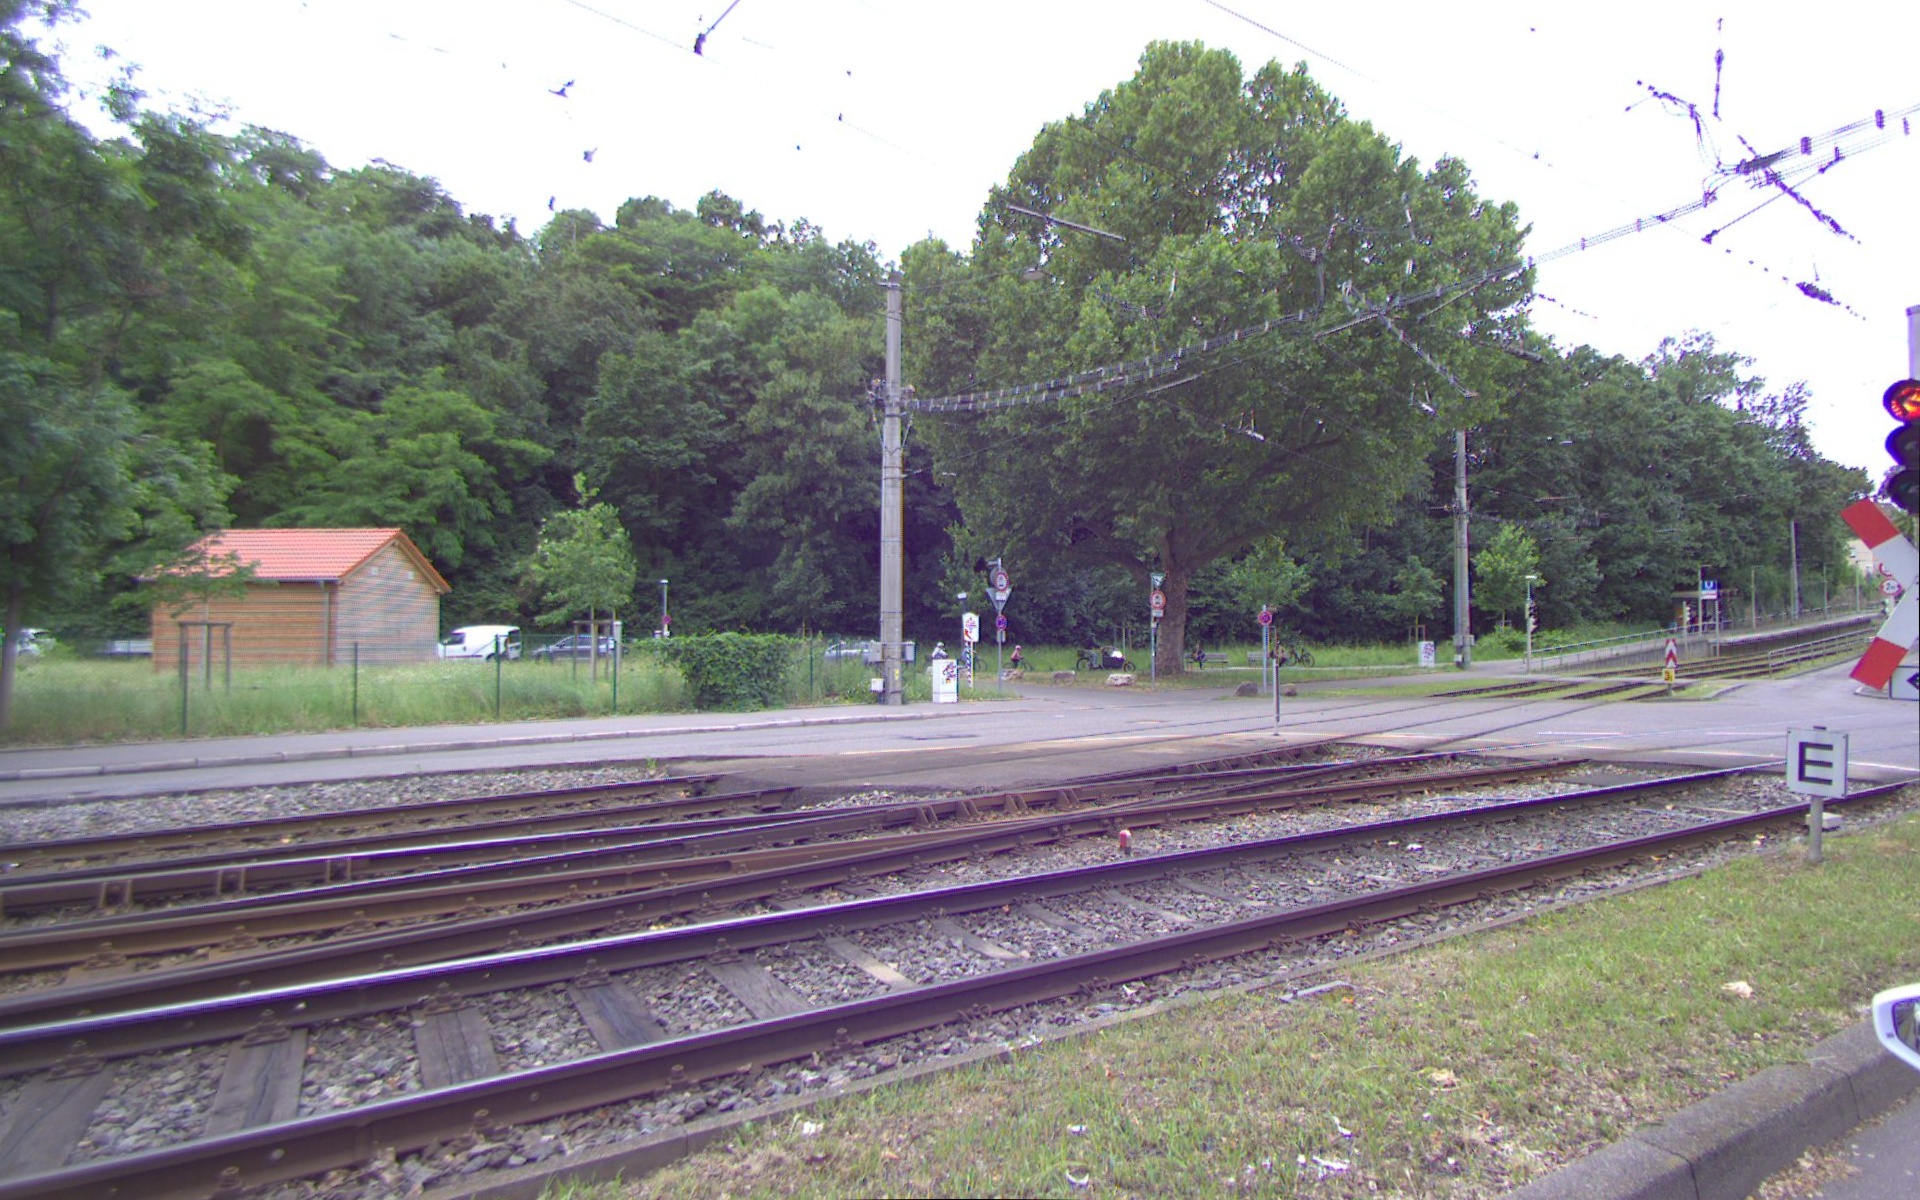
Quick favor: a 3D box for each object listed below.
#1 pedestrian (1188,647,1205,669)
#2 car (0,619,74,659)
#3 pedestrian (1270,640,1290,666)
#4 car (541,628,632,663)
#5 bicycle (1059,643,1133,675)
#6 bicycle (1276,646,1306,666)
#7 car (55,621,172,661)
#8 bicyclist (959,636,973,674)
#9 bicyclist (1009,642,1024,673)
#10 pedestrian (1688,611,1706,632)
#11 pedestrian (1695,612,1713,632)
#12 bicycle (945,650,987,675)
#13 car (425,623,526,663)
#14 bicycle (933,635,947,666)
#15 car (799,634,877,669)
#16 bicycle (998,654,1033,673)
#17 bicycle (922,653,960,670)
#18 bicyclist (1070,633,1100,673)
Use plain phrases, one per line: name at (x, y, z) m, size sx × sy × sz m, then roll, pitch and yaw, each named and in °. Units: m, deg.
pedestrian at (11.357, 2.780, 48.300) m, size 0.610 × 1.003 × 0.530 m, roll 2°, pitch 0°, yaw -15°
car at (-41.782, 1.691, 44.353) m, size 3.612 × 1.634 × 1.756 m, roll 2°, pitch 0°, yaw -6°
pedestrian at (15.559, 2.567, 48.841) m, size 0.662 × 1.251 × 0.578 m, roll 2°, pitch 0°, yaw -16°
car at (-16.856, 2.040, 45.464) m, size 3.436 × 1.443 × 1.700 m, roll 2°, pitch 0°, yaw -3°
bicycle at (6.126, 2.653, 45.195) m, size 3.278 × 1.307 × 0.736 m, roll -1°, pitch 2°, yaw 10°
bicycle at (16.319, 2.755, 49.543) m, size 0.611 × 0.897 × 1.743 m, roll 2°, pitch 0°, yaw -10°
car at (-37.590, 1.819, 44.675) m, size 3.610 × 1.634 × 1.757 m, roll 2°, pitch 0°, yaw -3°
bicyclist at (0.288, 2.521, 45.760) m, size 0.611 × 1.697 × 0.475 m, roll 0°, pitch 2°, yaw -1°
bicyclist at (2.567, 2.607, 45.670) m, size 0.570 × 1.319 × 0.455 m, roll -2°, pitch 2°, yaw -2°
pedestrian at (49.107, 1.447, 66.929) m, size 0.780 × 1.344 × 0.766 m, roll -1°, pitch 2°, yaw -37°
pedestrian at (50.081, 1.480, 67.574) m, size 0.780 × 1.344 × 0.766 m, roll 2°, pitch 0°, yaw -38°
bicycle at (0.269, 2.846, 45.765) m, size 1.906 × 1.055 × 0.475 m, roll 0°, pitch 1°, yaw -1°
car at (-21.903, 1.939, 45.520) m, size 3.610 × 1.634 × 1.909 m, roll 2°, pitch 0°, yaw -3°
bicycle at (-0.879, 2.243, 44.670) m, size 0.505 × 1.348 × 0.455 m, roll 0°, pitch 2°, yaw 11°
car at (-5.650, 2.386, 46.847) m, size 3.436 × 1.443 × 1.700 m, roll 2°, pitch 0°, yaw -3°
bicycle at (2.508, 2.904, 45.676) m, size 1.529 × 0.749 × 0.455 m, roll -2°, pitch 2°, yaw -2°
bicycle at (-0.824, 2.730, 44.671) m, size 1.619 × 0.749 × 0.455 m, roll 0°, pitch 2°, yaw 11°
bicyclist at (5.633, 2.376, 45.267) m, size 1.266 × 1.734 × 0.736 m, roll -1°, pitch 2°, yaw 10°
